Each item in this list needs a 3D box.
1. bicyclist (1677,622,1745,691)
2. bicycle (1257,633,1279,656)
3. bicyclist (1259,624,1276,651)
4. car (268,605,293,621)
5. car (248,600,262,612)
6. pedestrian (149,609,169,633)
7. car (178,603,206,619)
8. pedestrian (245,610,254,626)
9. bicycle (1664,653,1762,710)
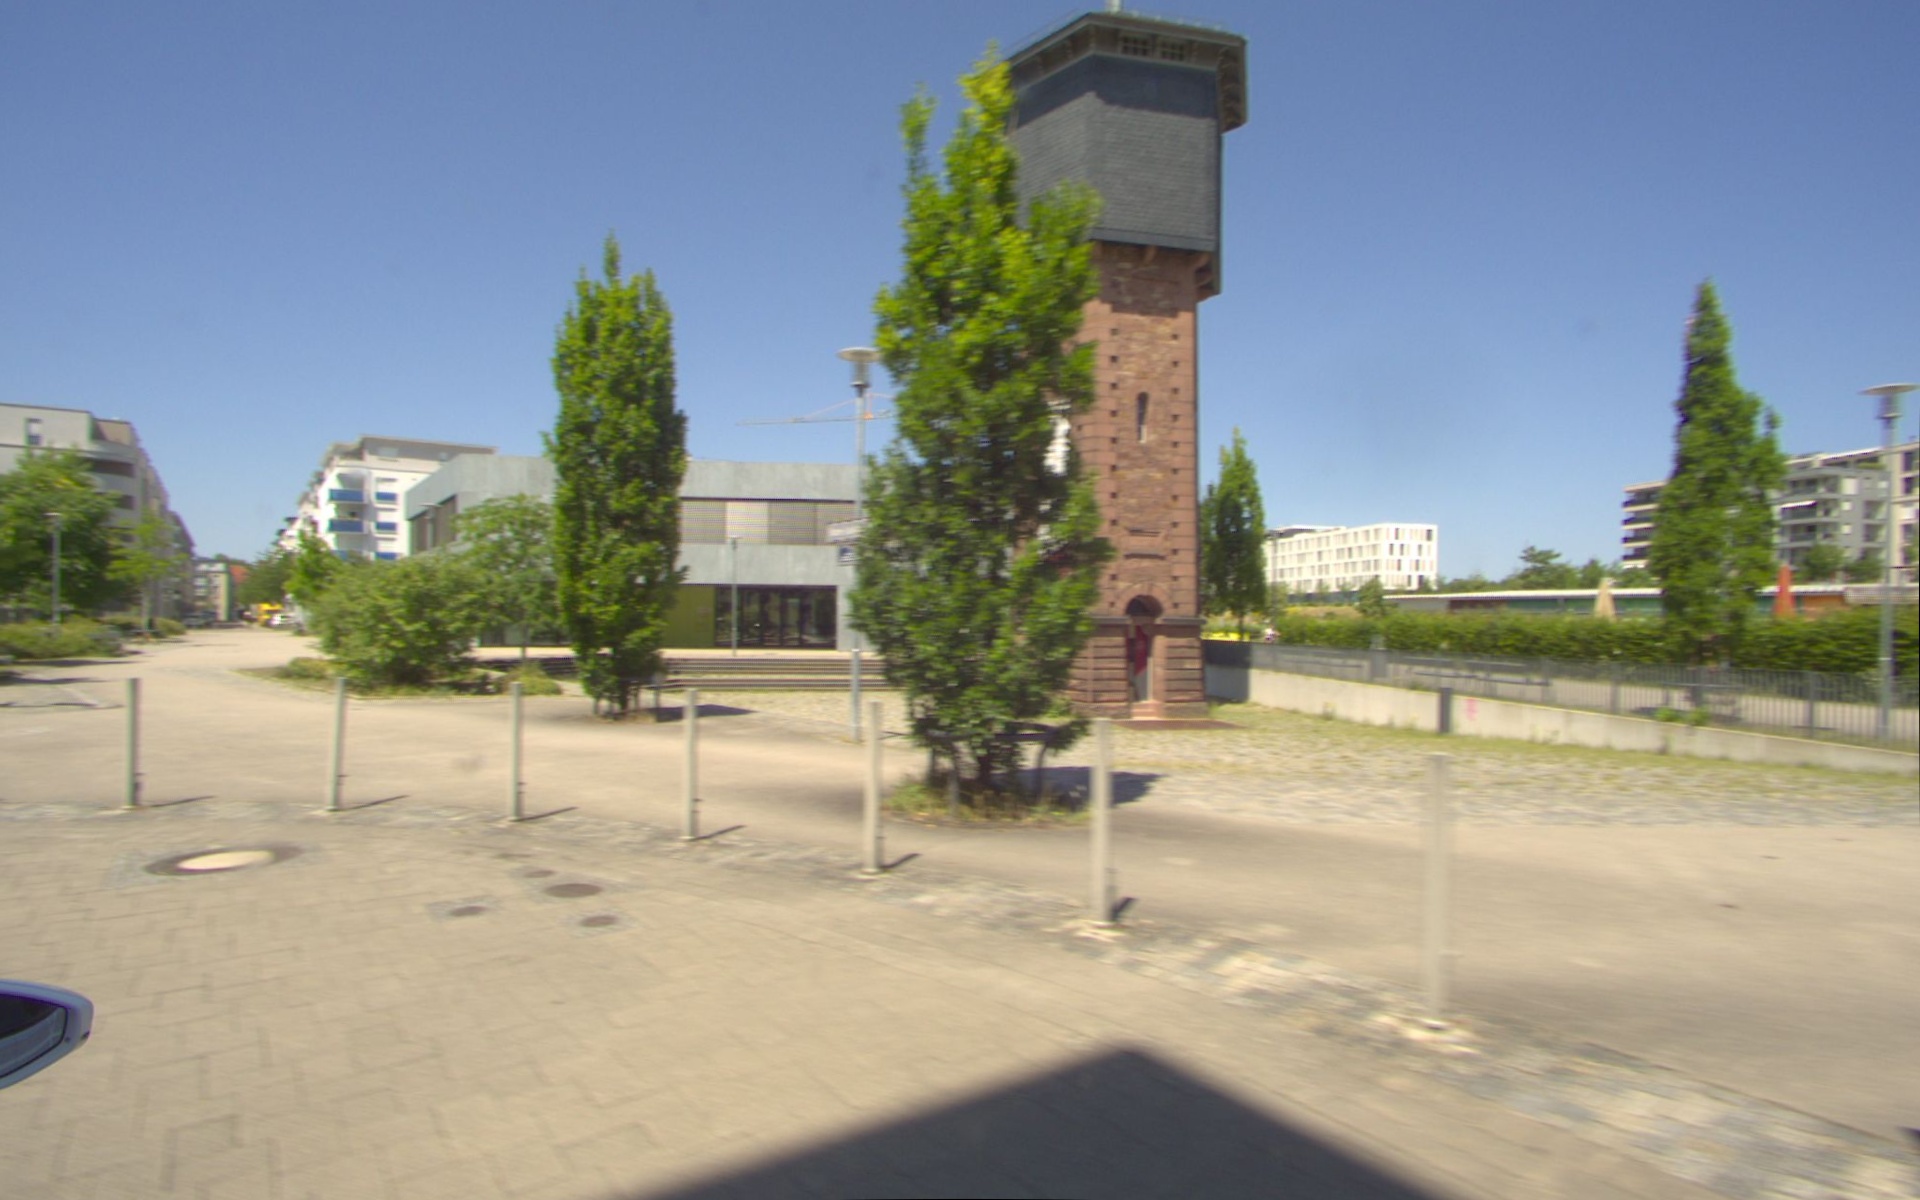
[{"bbox_3d":[16.589,1.238,22.141,0.843,1.474,0.883,1,-1,3],"label":"bicyclist"},{"bbox_3d":[16.765,2.416,54.509,0.579,1.214,1.942,1,-1,1],"label":"bicycle"},{"bbox_3d":[16.776,2.044,54.613,0.719,1.453,0.661,1,-1,1],"label":"bicyclist"},{"bbox_3d":[-68.757,1.319,101.324,1.975,1.630,3.974,2,-2,-34],"label":"car"},{"bbox_3d":[-124.946,1.150,177.497,1.976,2.039,3.971,2,-2,-36],"label":"car"},{"bbox_3d":[-46.627,1.222,58.283,0.840,1.366,0.691,2,-1,-36],"label":"pedestrian"},{"bbox_3d":[-79.674,1.161,103.913,2.126,1.673,4.061,2,-2,-35],"label":"car"},{"bbox_3d":[-68.470,1.739,96.514,0.688,1.549,0.595,1,0,-34],"label":"pedestrian"},{"bbox_3d":[16.579,1.772,22.111,0.783,1.132,1.915,1,-1,3],"label":"bicycle"}]
